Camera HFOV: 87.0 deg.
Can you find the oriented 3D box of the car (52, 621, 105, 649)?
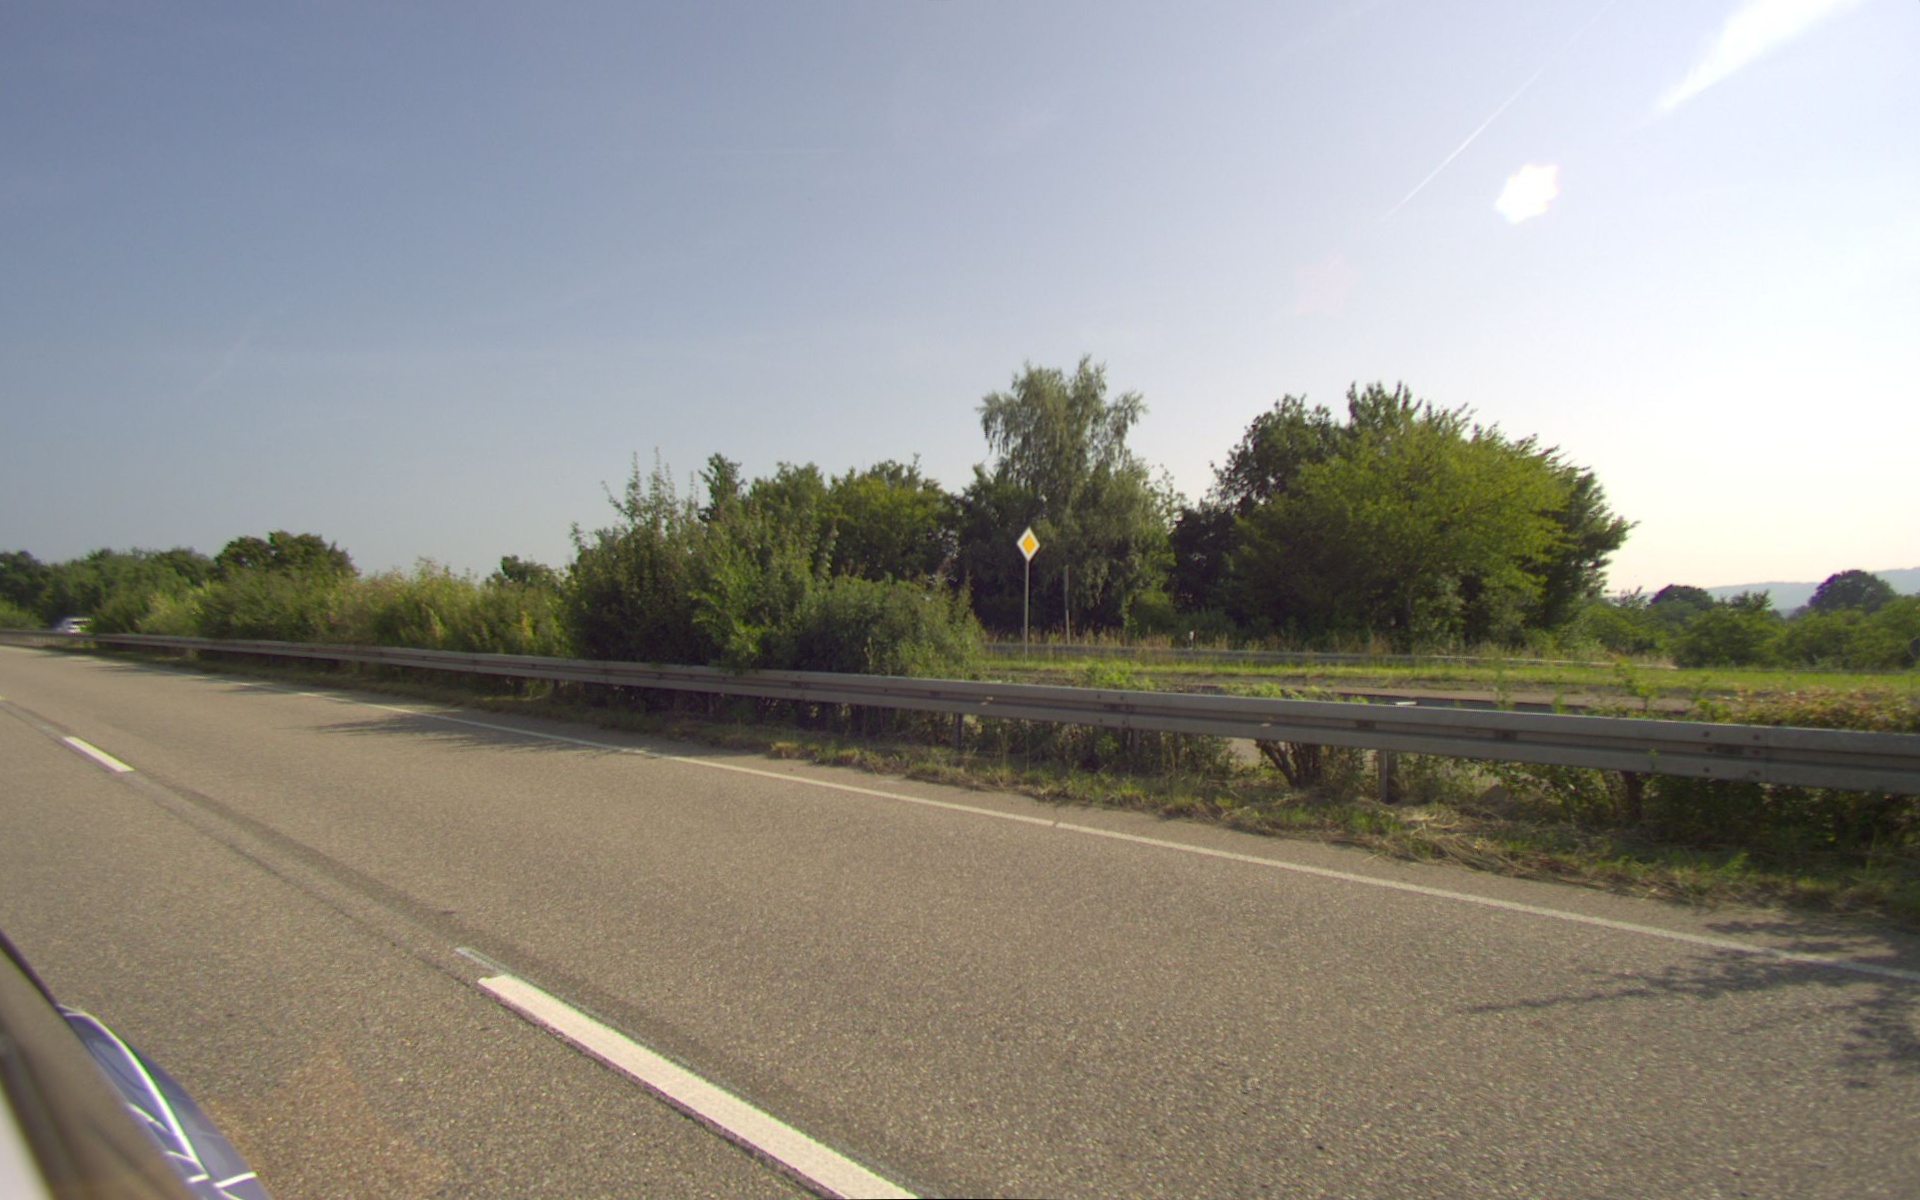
[{"bbox_3d":[-55.611,2.182,63.816,3.998,1.588,1.958,-1,3,41],"label":"car"}]
